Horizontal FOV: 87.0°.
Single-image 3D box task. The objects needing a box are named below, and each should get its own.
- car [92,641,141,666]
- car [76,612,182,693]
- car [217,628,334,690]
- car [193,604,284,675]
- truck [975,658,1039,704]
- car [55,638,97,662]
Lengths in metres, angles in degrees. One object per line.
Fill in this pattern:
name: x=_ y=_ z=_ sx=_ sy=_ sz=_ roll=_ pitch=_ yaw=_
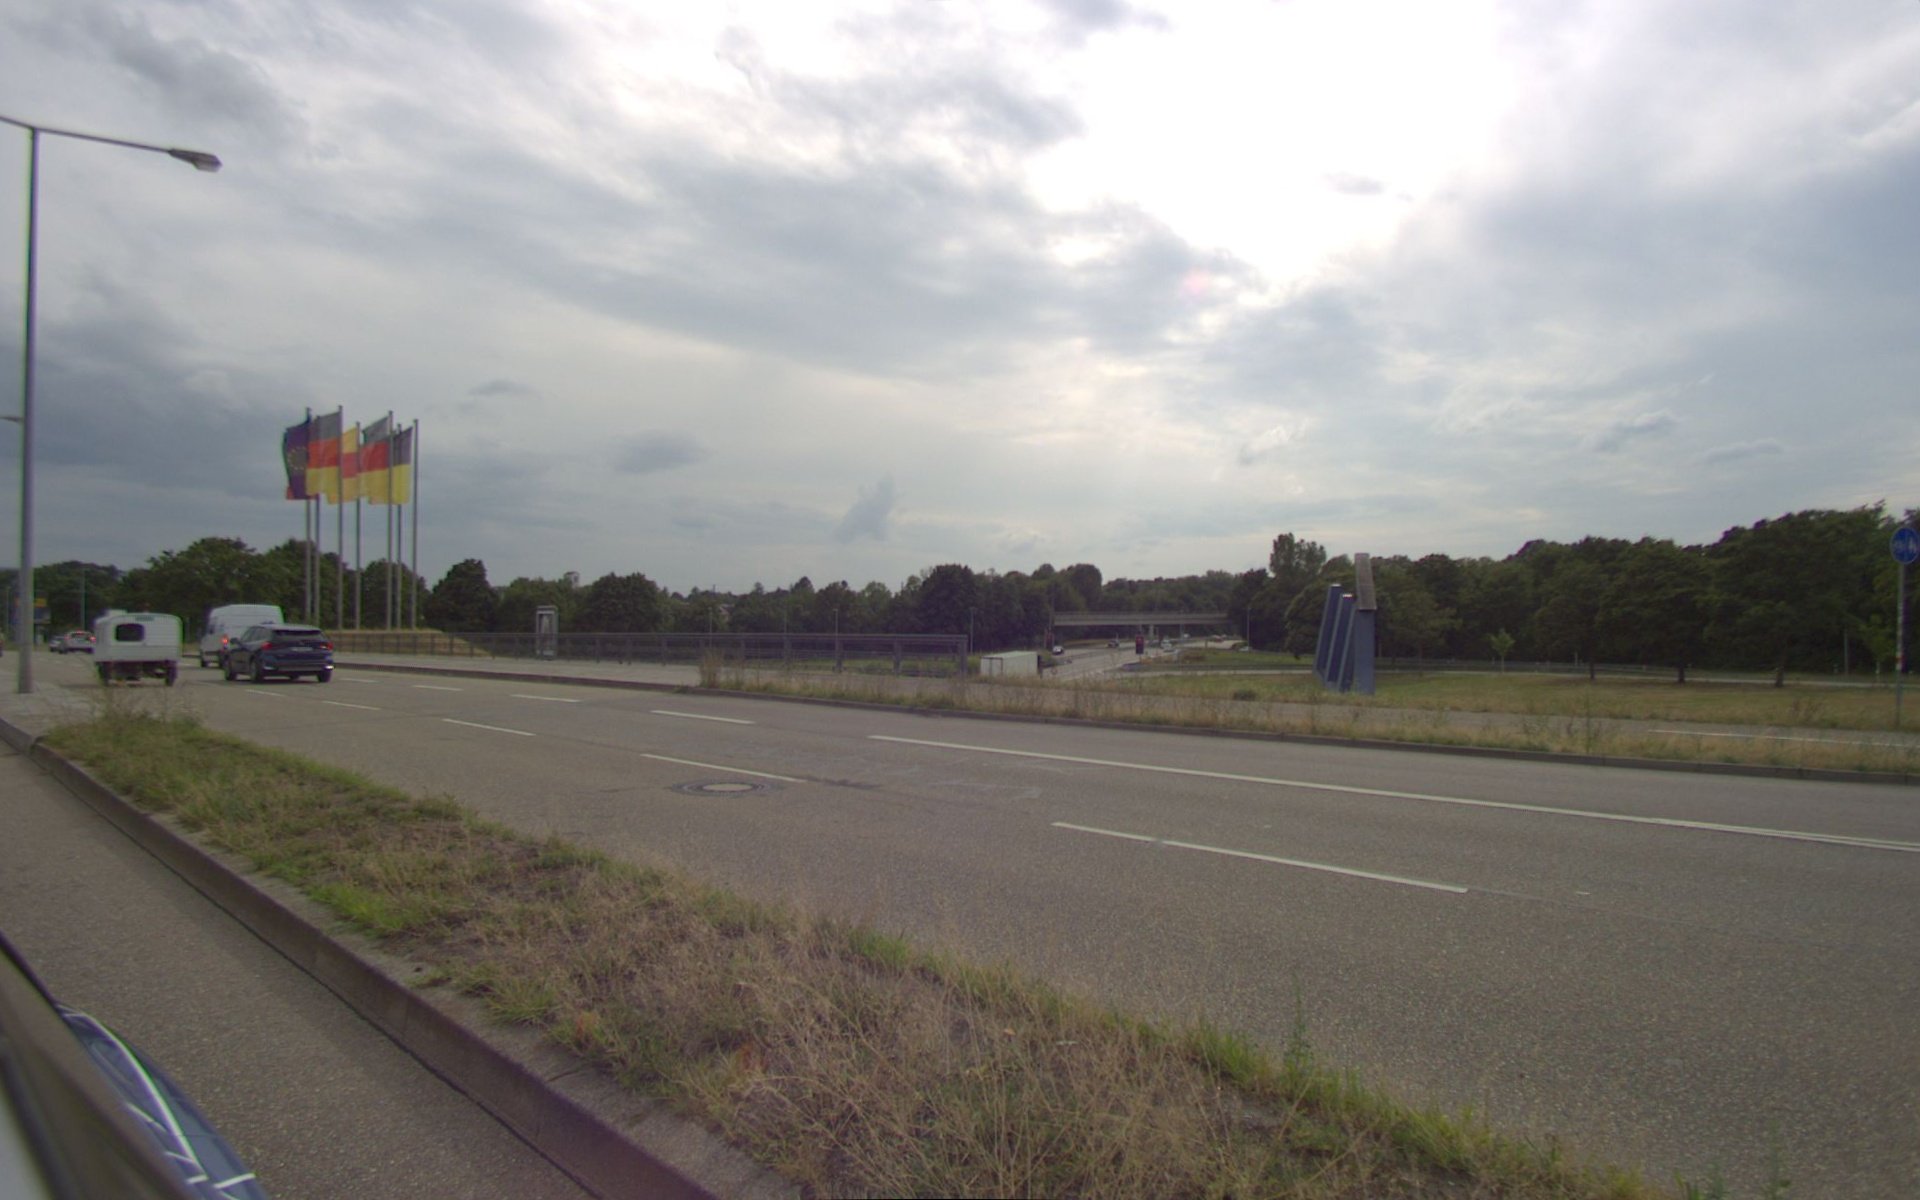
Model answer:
car: x=-54.037 y=3.408 z=64.799 sx=4.470 sy=1.492 sz=1.720 roll=-2 pitch=-4 yaw=42
car: x=-20.786 y=1.302 z=25.274 sx=3.570 sy=1.885 sz=1.523 roll=-2 pitch=-4 yaw=43
car: x=-19.291 y=1.633 z=28.438 sx=4.586 sy=1.597 sz=1.727 roll=-2 pitch=-4 yaw=43
car: x=-29.347 y=1.636 z=41.071 sx=2.029 sy=2.663 sz=6.405 roll=3 pitch=-4 yaw=-44
truck: x=5.408 y=8.841 z=112.571 sx=3.008 sy=4.376 sz=13.910 roll=-1 pitch=-1 yaw=20
car: x=-66.000 y=3.750 z=75.511 sx=4.770 sy=1.738 sz=1.842 roll=-2 pitch=-4 yaw=43
